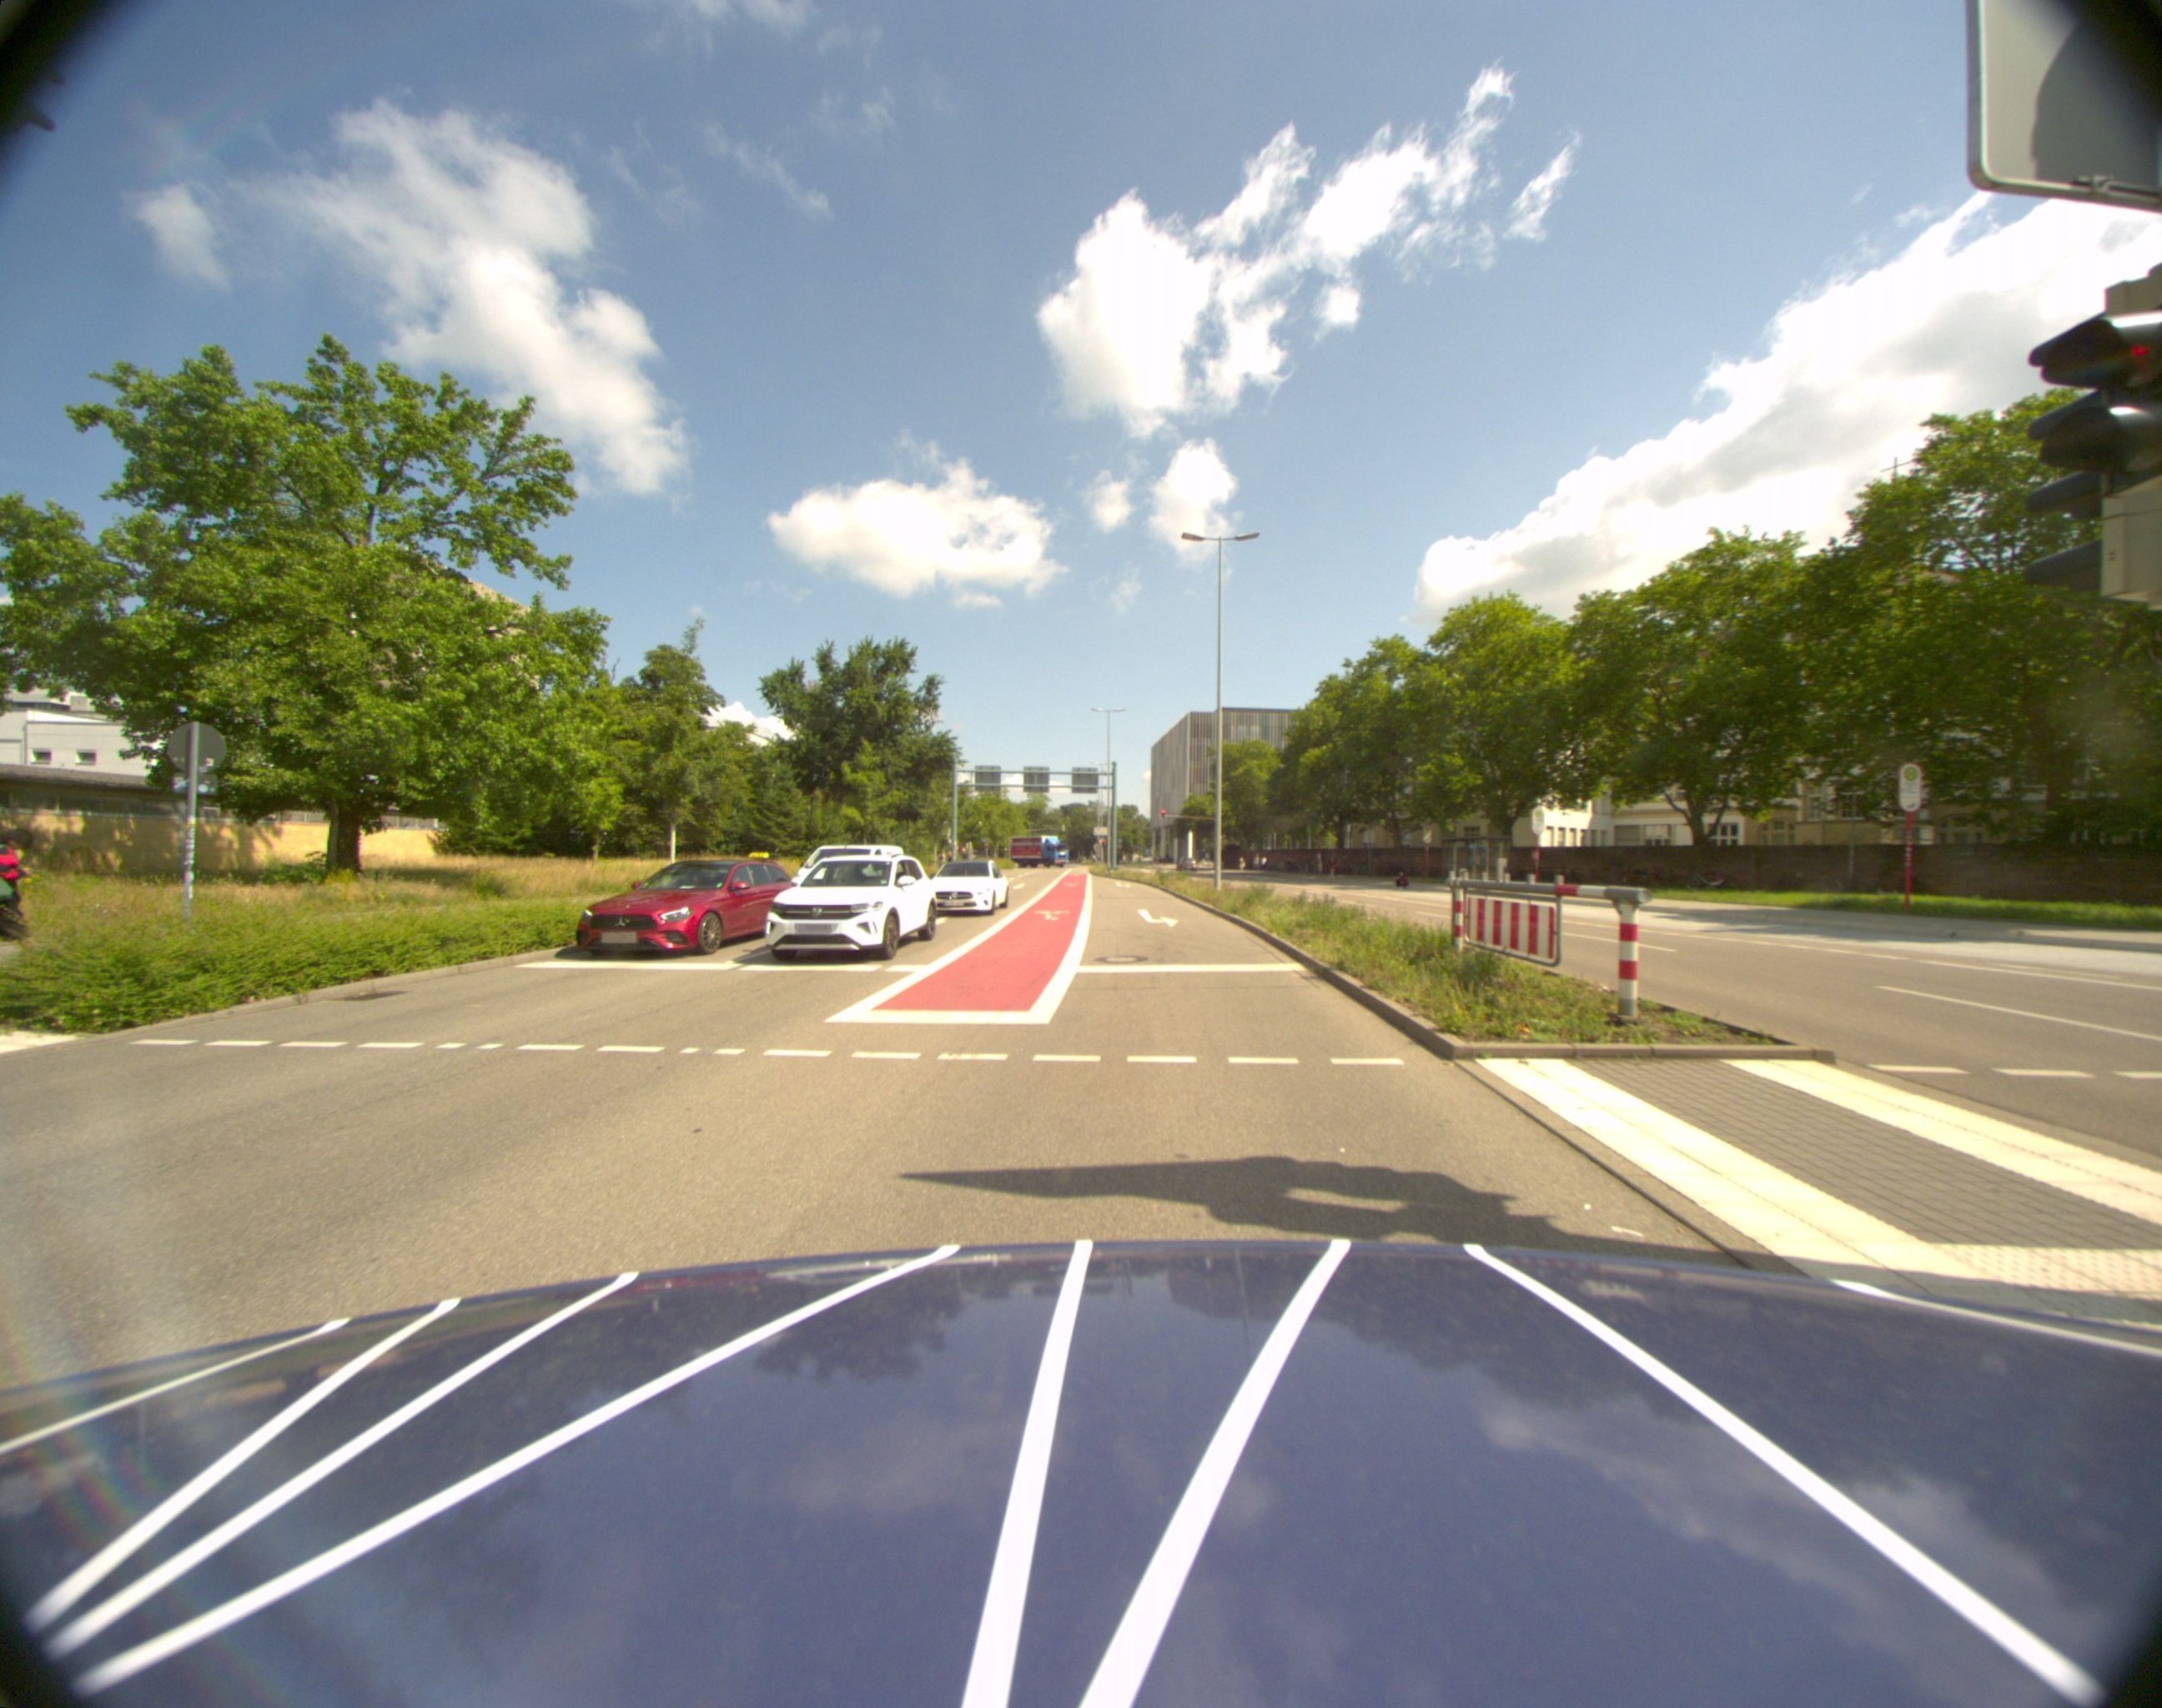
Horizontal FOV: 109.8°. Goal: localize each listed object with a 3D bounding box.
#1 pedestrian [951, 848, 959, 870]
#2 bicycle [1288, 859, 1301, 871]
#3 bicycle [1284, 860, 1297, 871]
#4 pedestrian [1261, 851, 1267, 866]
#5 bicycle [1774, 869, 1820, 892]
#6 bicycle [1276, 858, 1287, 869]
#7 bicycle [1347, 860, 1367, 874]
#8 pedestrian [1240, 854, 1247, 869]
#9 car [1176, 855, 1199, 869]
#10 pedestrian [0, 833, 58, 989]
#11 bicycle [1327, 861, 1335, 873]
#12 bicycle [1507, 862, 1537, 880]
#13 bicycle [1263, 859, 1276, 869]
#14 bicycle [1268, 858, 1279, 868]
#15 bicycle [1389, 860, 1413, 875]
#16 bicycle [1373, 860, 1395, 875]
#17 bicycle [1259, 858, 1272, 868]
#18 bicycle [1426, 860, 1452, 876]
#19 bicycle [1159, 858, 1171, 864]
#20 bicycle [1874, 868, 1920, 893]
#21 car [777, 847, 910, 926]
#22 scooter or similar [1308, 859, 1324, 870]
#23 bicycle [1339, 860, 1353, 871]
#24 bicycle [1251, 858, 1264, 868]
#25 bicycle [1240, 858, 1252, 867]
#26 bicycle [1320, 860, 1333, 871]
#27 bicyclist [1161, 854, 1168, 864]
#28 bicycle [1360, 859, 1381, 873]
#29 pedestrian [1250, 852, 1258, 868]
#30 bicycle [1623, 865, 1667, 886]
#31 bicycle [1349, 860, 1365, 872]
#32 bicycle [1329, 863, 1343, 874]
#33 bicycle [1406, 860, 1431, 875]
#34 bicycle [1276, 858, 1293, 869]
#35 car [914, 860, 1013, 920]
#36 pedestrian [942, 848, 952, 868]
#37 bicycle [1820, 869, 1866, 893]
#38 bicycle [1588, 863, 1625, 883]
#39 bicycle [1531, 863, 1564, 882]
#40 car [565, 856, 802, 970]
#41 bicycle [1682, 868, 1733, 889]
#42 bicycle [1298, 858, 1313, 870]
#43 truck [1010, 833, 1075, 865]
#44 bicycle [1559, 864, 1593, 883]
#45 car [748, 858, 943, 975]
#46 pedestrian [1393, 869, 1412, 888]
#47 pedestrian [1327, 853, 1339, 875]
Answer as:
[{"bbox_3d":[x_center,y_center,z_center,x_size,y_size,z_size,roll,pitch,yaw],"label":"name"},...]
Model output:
[{"bbox_3d":[-10.168,0.404,61.309,0.568,1.791,0.639,1,0,0],"label":"pedestrian"},{"bbox_3d":[20.481,1.056,72.908,0.395,1.042,1.879,0,0,-9],"label":"bicycle"},{"bbox_3d":[20.088,1.060,72.860,0.374,1.042,1.879,0,0,-9],"label":"bicycle"},{"bbox_3d":[18.994,0.440,78.804,0.477,1.531,0.616,1,0,-5],"label":"pedestrian"},{"bbox_3d":[32.460,1.186,34.484,0.473,1.005,1.453,0,0,-20],"label":"bicycle"},{"bbox_3d":[20.103,0.971,76.281,0.371,1.042,1.879,0,0,-9],"label":"bicycle"},{"bbox_3d":[22.327,1.052,61.489,0.584,1.067,1.753,0,0,-15],"label":"bicycle"},{"bbox_3d":[17.712,0.852,82.835,0.562,1.641,0.726,1,0,-5],"label":"pedestrian"},{"bbox_3d":[10.892,0.805,78.091,1.705,1.436,4.145,2,0,0],"label":"car"},{"bbox_3d":[-12.319,0.624,8.539,0.744,1.725,0.679,1,1,4],"label":"pedestrian"},{"bbox_3d":[21.331,1.108,64.932,0.367,0.949,1.626,0,0,9],"label":"bicycle"},{"bbox_3d":[27.208,1.054,46.905,0.585,1.067,1.628,0,0,-21],"label":"bicycle"},{"bbox_3d":[19.295,0.997,77.618,0.594,1.042,1.879,0,0,-9],"label":"bicycle"},{"bbox_3d":[19.791,0.951,78.243,0.371,1.042,1.879,0,0,-9],"label":"bicycle"},{"bbox_3d":[23.917,0.981,56.862,0.585,1.067,1.752,0,0,-21],"label":"bicycle"},{"bbox_3d":[23.444,1.030,58.752,0.584,1.067,1.753,0,0,-17],"label":"bicycle"},{"bbox_3d":[19.569,0.931,80.576,0.566,1.042,1.879,0,0,-9],"label":"bicycle"},{"bbox_3d":[25.021,0.949,53.125,0.585,1.067,1.752,0,0,-21],"label":"bicycle"},{"bbox_3d":[13.193,1.127,119.685,1.770,0.887,0.639,0,0,32],"label":"bicycle"},{"bbox_3d":[33.937,1.090,31.606,0.354,1.005,1.252,0,0,-20],"label":"bicycle"},{"bbox_3d":[-6.213,0.784,20.550,1.947,1.859,4.826,1,0,2],"label":"car"},{"bbox_3d":[21.278,0.948,68.923,0.582,1.042,1.879,0,0,-9],"label":"scooter or similar"},{"bbox_3d":[22.335,0.967,64.015,0.368,0.949,1.400,0,0,-15],"label":"bicycle"},{"bbox_3d":[19.148,0.973,82.535,0.632,1.042,1.879,0,0,-9],"label":"bicycle"},{"bbox_3d":[18.633,0.967,85.727,0.632,1.042,1.879,0,0,-9],"label":"bicycle"},{"bbox_3d":[21.742,1.014,67.228,0.368,0.949,1.400,0,0,-15],"label":"bicycle"},{"bbox_3d":[13.134,0.808,119.743,0.944,1.456,0.633,1,0,31],"label":"bicyclist"},{"bbox_3d":[22.983,0.976,60.381,0.584,1.067,1.753,0,0,-15],"label":"bicycle"},{"bbox_3d":[17.913,0.641,78.612,0.643,1.641,0.731,1,0,-5],"label":"pedestrian"},{"bbox_3d":[29.848,1.116,40.253,0.584,1.067,1.867,0,0,-17],"label":"bicycle"},{"bbox_3d":[22.653,1.010,62.382,0.371,0.949,1.625,0,0,-15],"label":"bicycle"},{"bbox_3d":[21.947,1.222,65.448,0.368,0.949,1.400,0,0,-15],"label":"bicycle"},{"bbox_3d":[24.455,0.980,55.034,0.585,1.067,1.752,0,0,-21],"label":"bicycle"},{"bbox_3d":[20.031,0.935,74.842,0.594,1.042,1.877,0,0,-25],"label":"bicycle"},{"bbox_3d":[-3.076,0.898,20.839,1.908,1.415,4.385,1,0,2],"label":"car"},{"bbox_3d":[-10.780,0.314,61.091,0.624,1.571,0.708,1,0,0],"label":"pedestrian"},{"bbox_3d":[33.166,1.158,33.077,0.392,1.005,1.367,0,0,-20],"label":"bicycle"},{"bbox_3d":[29.055,1.056,42.048,0.585,1.067,1.628,0,0,-21],"label":"bicycle"},{"bbox_3d":[27.768,1.110,45.259,0.585,1.067,1.628,0,0,-21],"label":"bicycle"},{"bbox_3d":[-6.532,0.847,13.141,1.685,1.631,4.463,0,0,1],"label":"car"},{"bbox_3d":[31.018,1.208,37.630,0.473,1.005,1.960,0,0,-20],"label":"bicycle"},{"bbox_3d":[20.940,0.937,70.799,0.582,1.042,1.879,0,0,-9],"label":"bicycle"},{"bbox_3d":[-4.981,-0.637,95.592,2.672,3.777,9.163,0,1,-45],"label":"truck"},{"bbox_3d":[28.413,1.099,43.626,0.585,1.067,1.628,0,0,-21],"label":"bicycle"},{"bbox_3d":[-3.575,0.866,12.349,1.795,1.530,4.011,-1,0,1],"label":"car"},{"bbox_3d":[16.800,1.283,39.730,0.696,0.957,0.743,0,0,-1],"label":"pedestrian"},{"bbox_3d":[18.761,0.751,56.603,0.658,1.600,0.744,0,1,1],"label":"pedestrian"}]
